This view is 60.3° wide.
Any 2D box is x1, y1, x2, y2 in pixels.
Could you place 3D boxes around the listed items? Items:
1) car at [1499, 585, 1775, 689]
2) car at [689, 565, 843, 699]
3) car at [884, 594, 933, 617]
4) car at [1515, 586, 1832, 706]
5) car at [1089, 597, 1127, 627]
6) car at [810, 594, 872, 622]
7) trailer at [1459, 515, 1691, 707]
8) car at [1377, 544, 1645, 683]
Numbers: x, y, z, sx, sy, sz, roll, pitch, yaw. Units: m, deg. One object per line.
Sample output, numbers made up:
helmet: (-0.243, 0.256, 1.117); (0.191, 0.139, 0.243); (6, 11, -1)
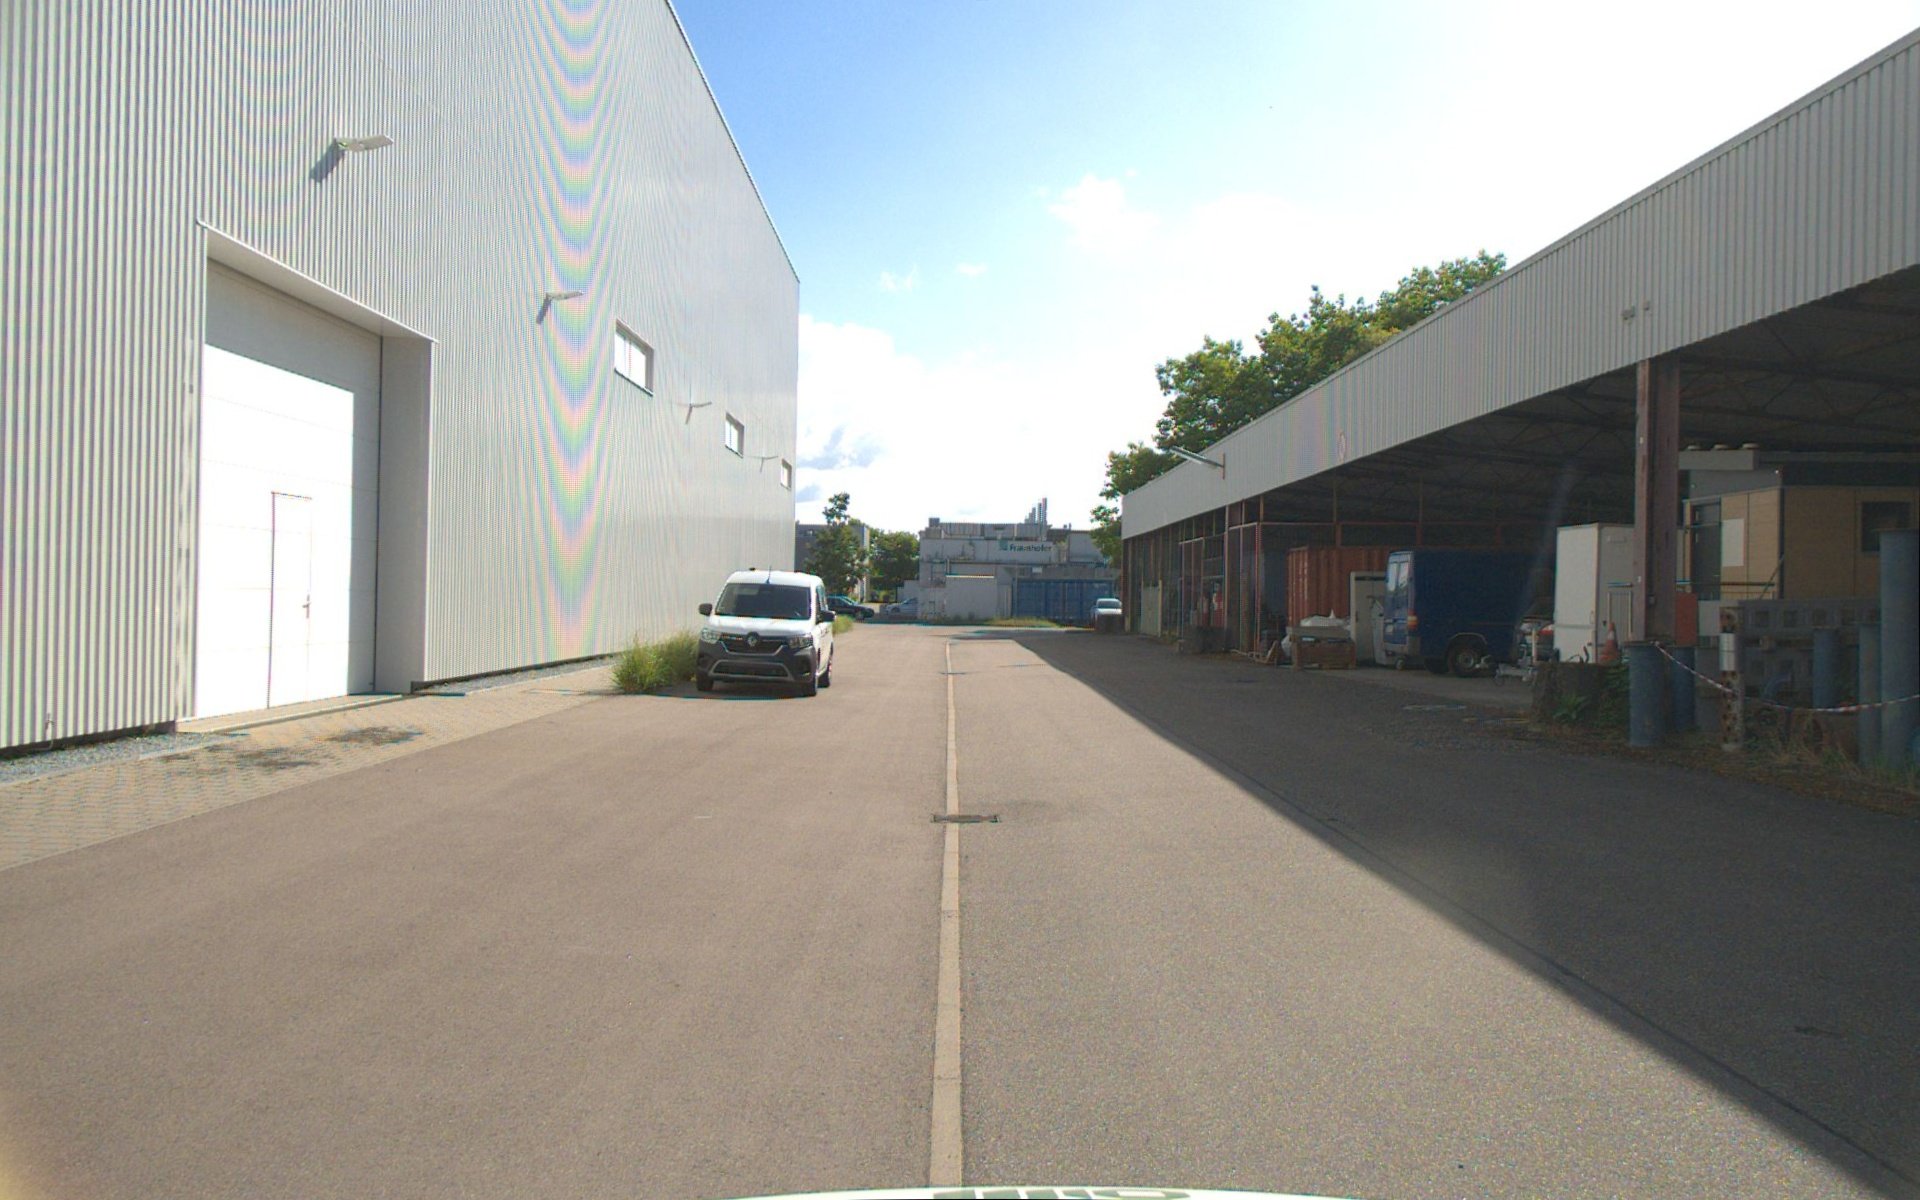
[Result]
car: (11.354, 0.637, 27.897); (3.955, 1.551, 1.684); (2, -2, 0)
car: (-2.896, 0.433, 25.511); (1.781, 1.818, 4.405); (2, 0, 0)
car: (-4.207, 0.465, 135.590); (3.906, 1.626, 1.847); (2, -2, -2)
car: (10.474, 0.682, 24.463); (3.955, 1.551, 1.684); (2, -2, 0)
car: (8.515, 0.680, 95.433); (1.921, 1.592, 4.060); (2, 1, 1)
car: (-7.744, 0.508, 107.671); (3.906, 1.626, 1.741); (2, -2, -2)
trailer: (8.185, 0.153, 22.175); (2.472, 2.441, 1.727); (1, -1, 0)
car: (10.249, 0.280, 30.983); (4.342, 2.350, 1.915); (2, -2, 0)
